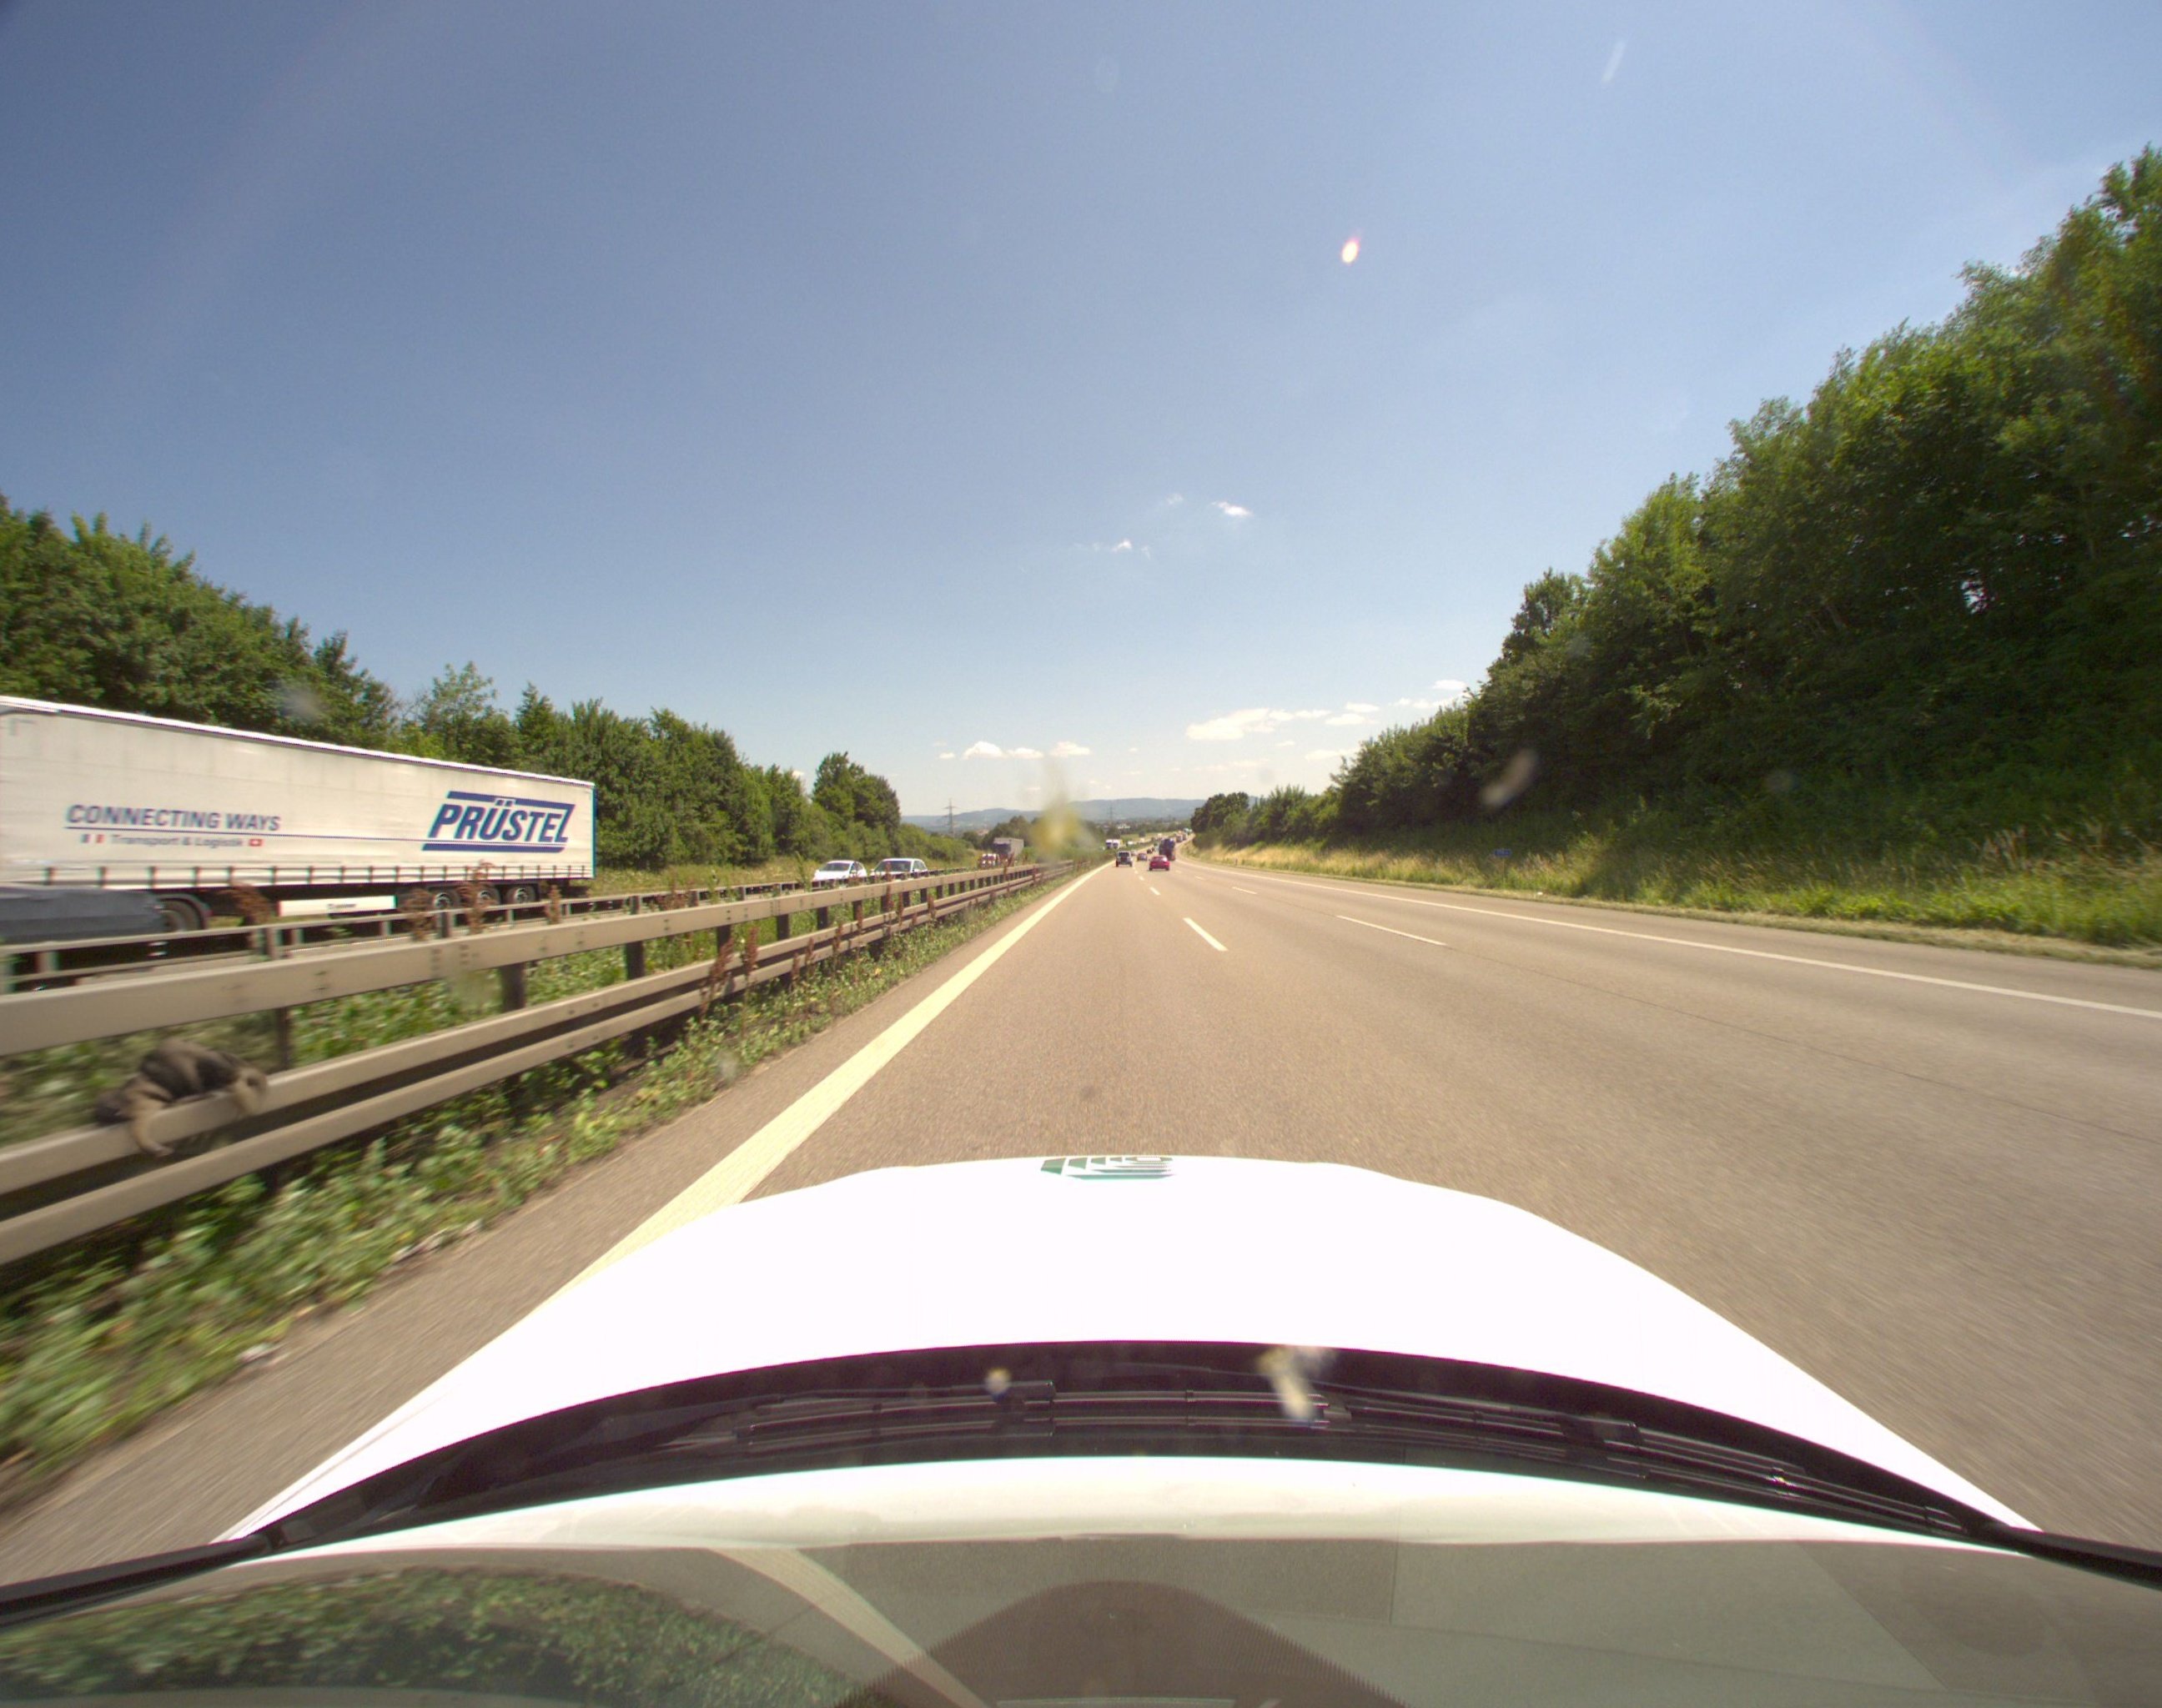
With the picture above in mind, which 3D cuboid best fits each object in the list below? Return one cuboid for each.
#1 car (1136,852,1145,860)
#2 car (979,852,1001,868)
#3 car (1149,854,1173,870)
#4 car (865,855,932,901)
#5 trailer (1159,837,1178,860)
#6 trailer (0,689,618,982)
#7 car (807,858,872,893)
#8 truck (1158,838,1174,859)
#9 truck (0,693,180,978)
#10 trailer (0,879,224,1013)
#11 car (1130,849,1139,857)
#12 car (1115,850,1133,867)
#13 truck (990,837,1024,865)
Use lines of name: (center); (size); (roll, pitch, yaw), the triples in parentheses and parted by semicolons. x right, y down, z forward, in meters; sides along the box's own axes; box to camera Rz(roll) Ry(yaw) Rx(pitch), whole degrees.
car: (10.455, 0.320, 142.731); (1.446, 1.267, 3.541); (-1, 1, 2)
car: (-9.337, 0.626, 83.767); (1.493, 1.514, 4.871); (-1, 0, 2)
car: (7.387, 0.702, 75.443); (1.681, 1.378, 3.947); (-1, 1, -1)
car: (-7.154, 0.893, 32.332); (1.671, 1.554, 4.391); (-1, 1, 0)
trailer: (15.878, -1.059, 149.187); (2.842, 3.993, 15.414); (-1, 1, 4)
trailer: (-16.669, -0.390, 19.142); (2.624, 4.253, 14.685); (-1, 1, 2)
car: (-11.098, 0.951, 37.769); (1.575, 1.462, 4.359); (-1, 0, 2)
truck: (16.389, -1.151, 156.960); (2.742, 3.852, 6.651); (-1, 1, 3)
truck: (-16.875, -0.249, 11.475); (2.483, 4.118, 5.087); (-1, 1, 2)
trailer: (-12.336, 1.033, 9.274); (1.587, 1.321, 3.261); (-1, 1, 2)
car: (13.684, -0.299, 207.539); (1.687, 2.013, 3.834); (0, 1, 11)
car: (5.112, 0.544, 97.659); (2.075, 1.829, 4.756); (-1, 1, 2)
truck: (-11.288, -0.436, 125.509); (2.963, 4.013, 16.837); (-1, 0, 2)
